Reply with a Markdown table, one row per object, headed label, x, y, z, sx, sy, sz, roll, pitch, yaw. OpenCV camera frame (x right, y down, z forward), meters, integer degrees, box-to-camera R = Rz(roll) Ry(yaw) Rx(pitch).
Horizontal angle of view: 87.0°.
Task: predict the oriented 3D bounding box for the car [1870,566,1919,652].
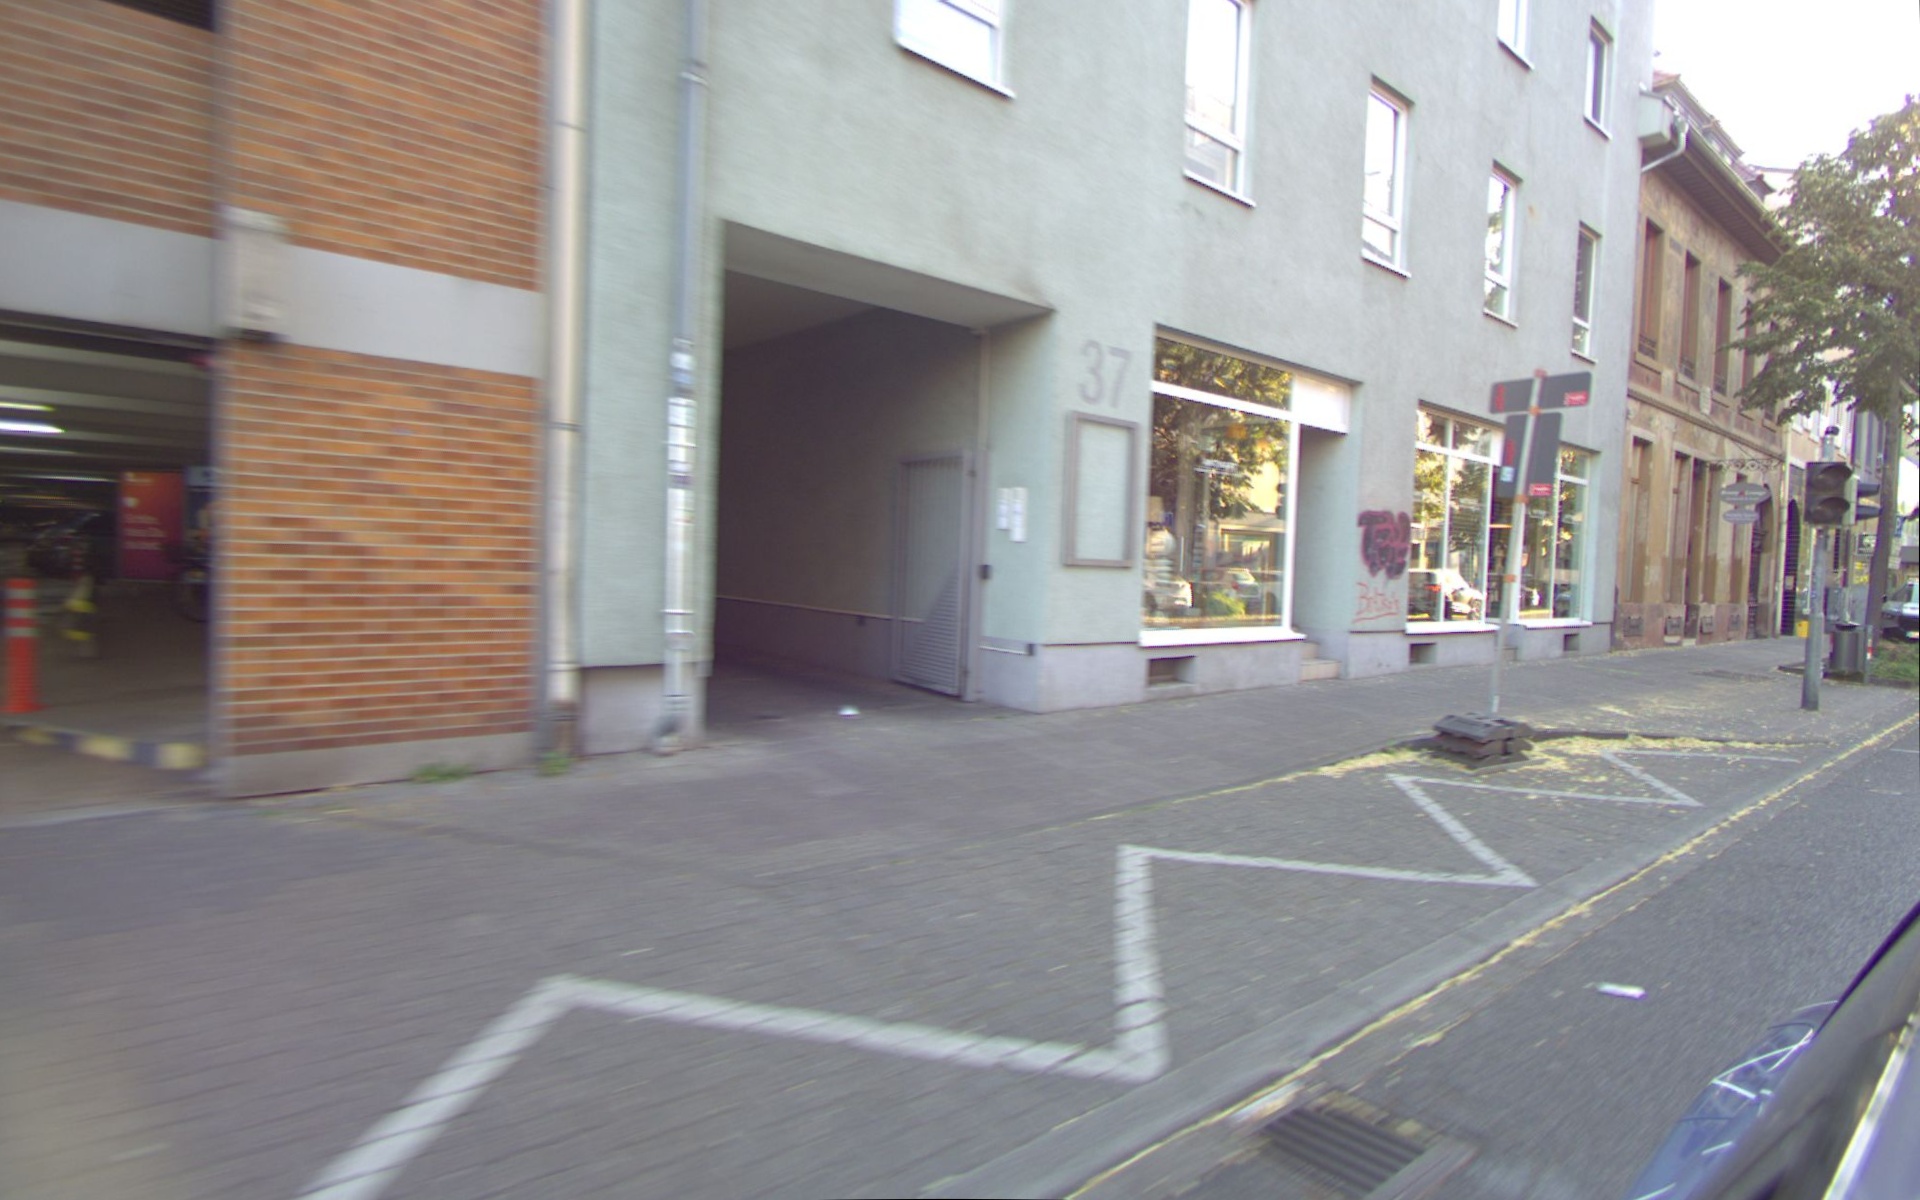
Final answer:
| label | x | y | z | sx | sy | sz | roll | pitch | yaw |
| --- | --- | --- | --- | --- | --- | --- | --- | --- | --- |
| car | 22.096 | 0.237 | 22.474 | 4.627 | 1.758 | 2.045 | 0 | 5 | -40 |

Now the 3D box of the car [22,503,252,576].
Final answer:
| label | x | y | z | sx | sy | sz | roll | pitch | yaw |
| --- | --- | --- | --- | --- | --- | --- | --- | --- | --- |
| car | -18.494 | -1.303 | 22.982 | 3.925 | 1.467 | 1.672 | 0 | 0 | -36 |
